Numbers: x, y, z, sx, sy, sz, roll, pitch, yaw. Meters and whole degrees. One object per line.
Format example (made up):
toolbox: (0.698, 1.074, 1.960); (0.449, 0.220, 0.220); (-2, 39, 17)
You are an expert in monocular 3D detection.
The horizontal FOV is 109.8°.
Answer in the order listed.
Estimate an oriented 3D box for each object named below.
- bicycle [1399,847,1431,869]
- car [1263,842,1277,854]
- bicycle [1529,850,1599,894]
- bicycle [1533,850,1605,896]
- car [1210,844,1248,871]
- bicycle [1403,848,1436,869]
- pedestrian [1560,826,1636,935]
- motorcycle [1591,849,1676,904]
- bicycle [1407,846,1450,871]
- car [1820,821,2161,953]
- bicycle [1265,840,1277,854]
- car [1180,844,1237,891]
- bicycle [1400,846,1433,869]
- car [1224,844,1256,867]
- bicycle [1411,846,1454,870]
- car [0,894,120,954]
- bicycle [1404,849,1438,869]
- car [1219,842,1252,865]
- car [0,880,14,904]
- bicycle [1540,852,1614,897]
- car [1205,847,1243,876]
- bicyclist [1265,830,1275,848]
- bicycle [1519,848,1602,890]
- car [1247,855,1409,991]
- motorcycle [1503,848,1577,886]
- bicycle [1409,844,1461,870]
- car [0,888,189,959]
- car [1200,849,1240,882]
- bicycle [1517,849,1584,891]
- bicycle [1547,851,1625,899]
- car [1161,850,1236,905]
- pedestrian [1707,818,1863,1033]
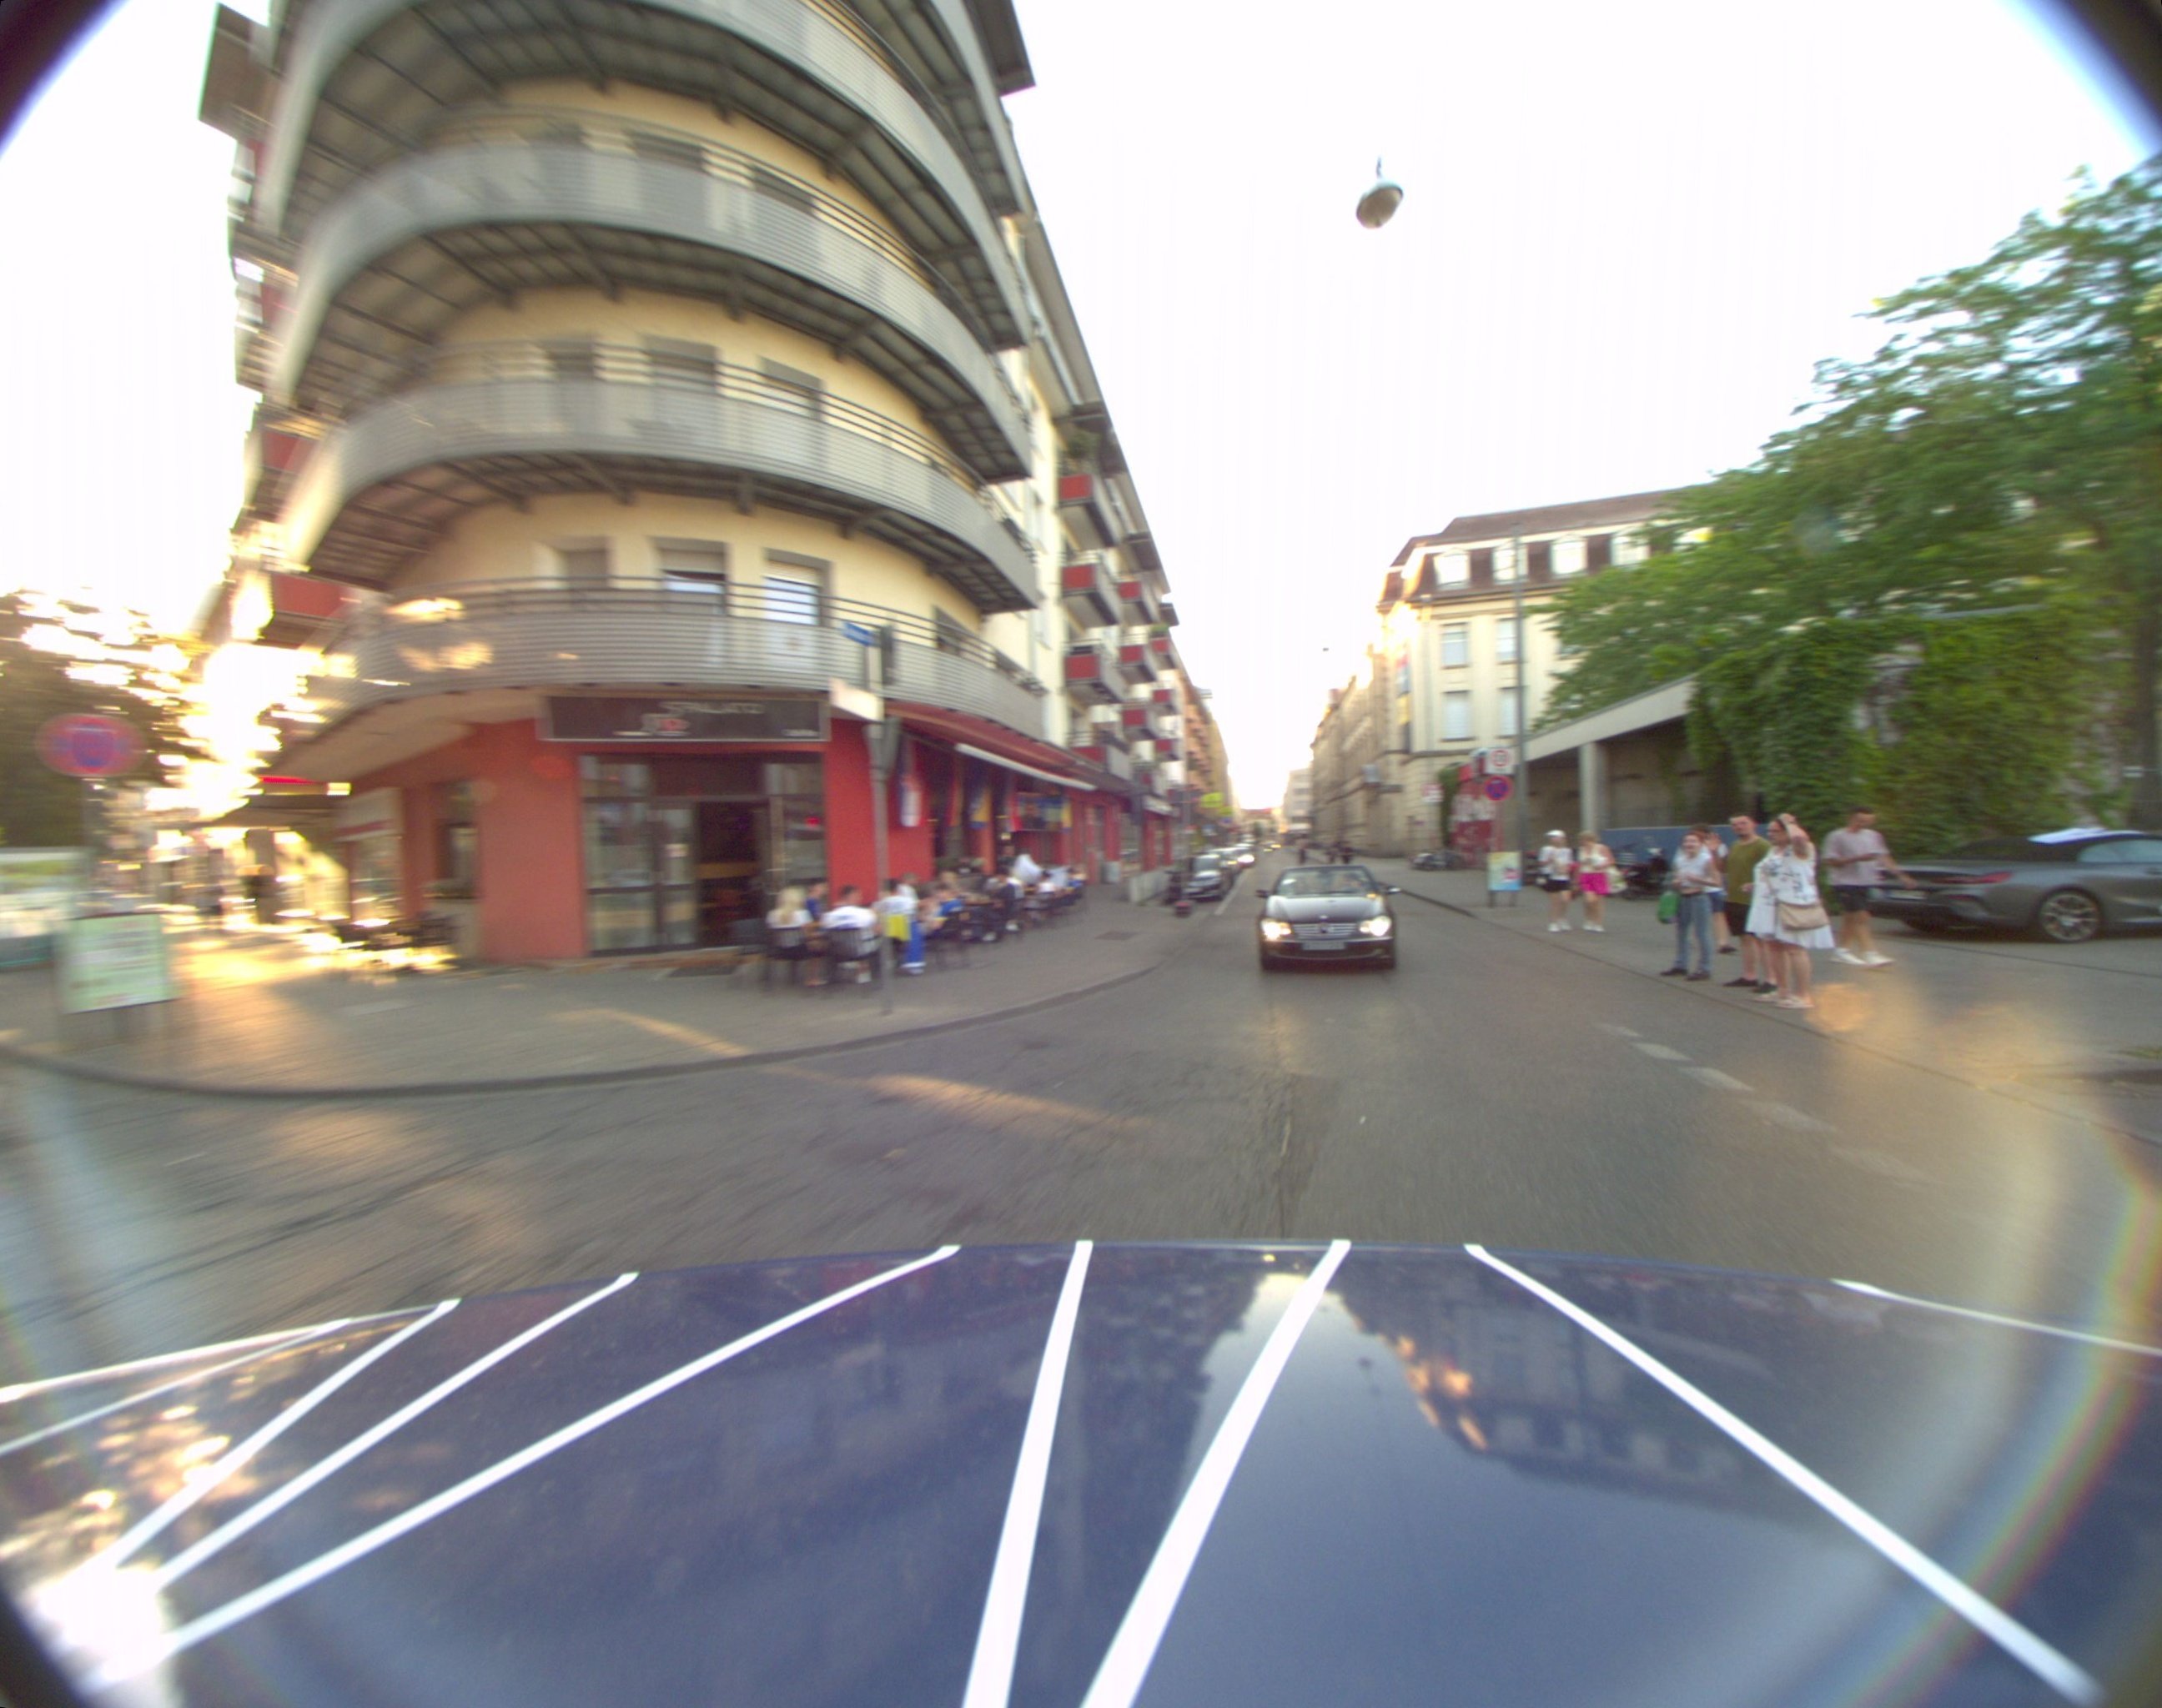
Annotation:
bicycle: (17.671, 0.214, 40.184); (1.499, 1.070, 0.313); (-3, 1, 5)
car: (32.520, -1.012, 130.502); (1.996, 2.002, 4.004); (-2, 1, 18)
bicycle: (12.999, 0.482, 20.469); (1.495, 1.081, 0.411); (-3, 1, 10)
bicycle: (12.760, 0.490, 19.883); (1.495, 1.105, 0.411); (-3, 1, 10)
car: (9.204, 0.183, 46.995); (1.864, 1.468, 4.399); (-3, 0, 15)
bicycle: (17.595, 0.244, 39.519); (1.499, 0.973, 0.313); (-3, 1, 5)
pedestrian: (8.851, 0.450, 13.046); (0.811, 1.783, 0.737); (-3, 1, 15)
motorcycle: (12.563, 0.504, 17.265); (1.830, 1.120, 0.536); (-4, 1, -18)
bicycle: (17.075, 0.223, 37.345); (1.842, 1.077, 0.355); (-3, 1, 19)
car: (13.361, 0.380, 10.253); (4.444, 1.422, 2.108); (-3, 0, 7)
bicycle: (21.396, -0.784, 85.575); (1.037, 1.513, 2.825); (-2, 1, 18)
car: (5.283, 0.504, 31.098); (1.882, 1.689, 4.141); (-3, 0, 14)
bicycle: (17.608, 0.195, 39.844); (1.499, 1.134, 0.313); (-3, 1, 5)
car: (11.439, 0.099, 54.356); (1.895, 1.468, 4.305); (-3, 0, 15)
bicycle: (17.041, 0.207, 36.887); (1.842, 1.077, 0.355); (-3, 1, 19)
car: (-29.191, 1.937, 20.393); (1.995, 1.412, 4.007); (-2, 1, 33)
bicycle: (17.547, 0.275, 39.212); (1.499, 0.950, 0.313); (-3, 1, 5)
car: (12.251, -0.067, 60.069); (1.996, 1.607, 4.372); (-3, 0, 18)
car: (-92.160, 3.275, 62.380); (4.857, 2.002, 1.995); (-3, 1, -29)
bicycle: (12.704, 0.528, 19.487); (1.495, 1.063, 0.442); (-3, 1, 10)
car: (8.090, 0.392, 42.716); (1.766, 1.468, 3.951); (-3, 0, 14)
bicyclist: (21.257, -1.656, 85.376); (1.044, 2.002, 1.183); (-2, 1, 15)
bicycle: (13.667, 0.426, 21.705); (1.870, 1.081, 0.551); (-3, 1, 15)
car: (3.503, 0.815, 11.187); (1.807, 1.400, 4.621); (-1, 2, 15)
motorcycle: (13.979, 0.409, 23.153); (1.824, 1.062, 0.534); (-3, 1, 42)
bicycle: (17.015, 0.145, 36.512); (2.178, 1.149, 0.446); (-3, 1, 19)
car: (-26.655, 1.799, 19.651); (1.812, 1.533, 4.453); (-2, 1, 36)
car: (6.889, 0.531, 37.489); (1.751, 1.395, 3.970); (-3, 0, 11)
bicycle: (13.131, 0.459, 21.303); (1.494, 1.081, 0.437); (-3, 1, 20)
bicycle: (12.625, 0.522, 19.027); (1.495, 1.081, 0.548); (-3, 1, 10)
car: (4.036, 0.708, 25.440); (1.876, 1.543, 4.635); (-3, 0, 15)
pedestrian: (6.429, 0.607, 6.948); (0.716, 1.792, 0.880); (-4, 1, -38)
